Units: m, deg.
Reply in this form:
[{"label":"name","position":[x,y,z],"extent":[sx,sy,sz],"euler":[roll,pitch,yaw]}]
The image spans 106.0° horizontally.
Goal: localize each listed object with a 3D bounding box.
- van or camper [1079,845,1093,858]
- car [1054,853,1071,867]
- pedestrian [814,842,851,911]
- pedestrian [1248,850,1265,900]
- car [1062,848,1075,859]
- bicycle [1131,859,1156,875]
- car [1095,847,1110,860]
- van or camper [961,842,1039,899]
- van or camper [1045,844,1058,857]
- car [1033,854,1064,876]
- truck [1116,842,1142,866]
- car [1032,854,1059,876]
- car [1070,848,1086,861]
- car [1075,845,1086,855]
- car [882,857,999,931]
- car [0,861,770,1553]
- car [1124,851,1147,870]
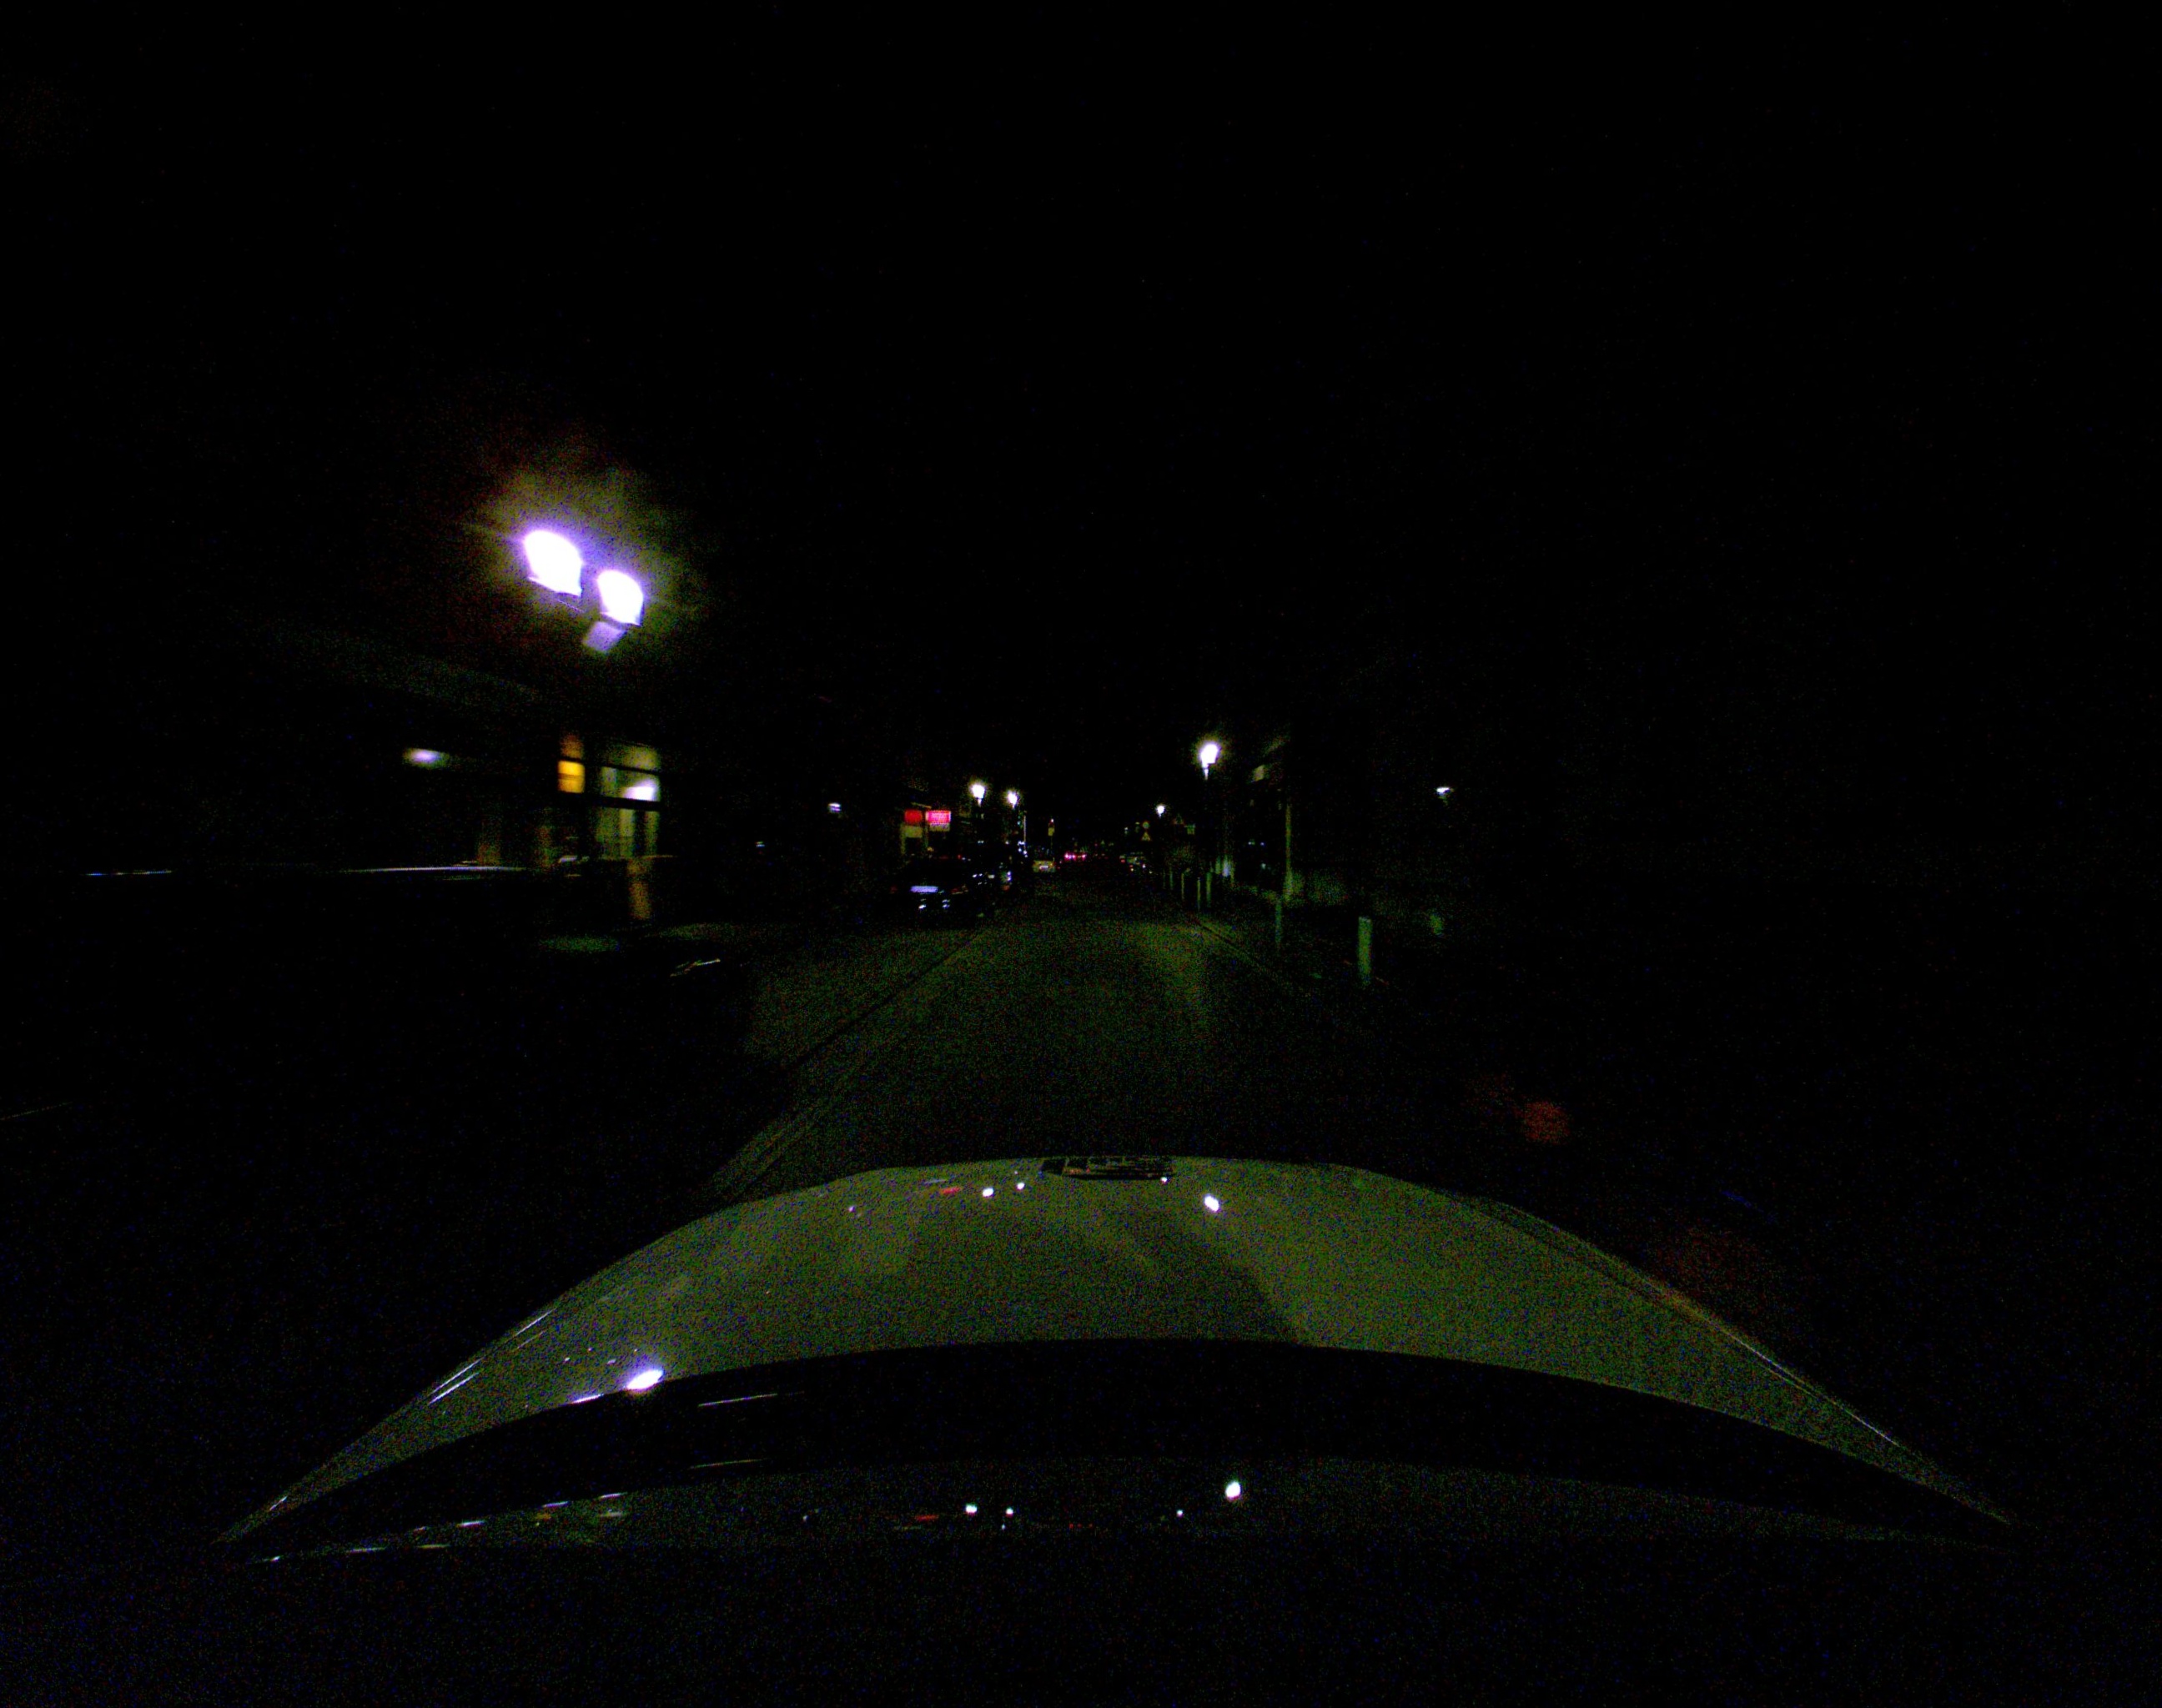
[{"label":"van or camper","position":[0.846,-0.448,147.098],"extent":[2.106,2.317,4.253],"euler":[-2,0,-6]},{"label":"car","position":[-2.069,0.665,90.064],"extent":[1.671,1.543,4.223],"euler":[0,0,-5]},{"label":"pedestrian","position":[-6.459,0.569,21.215],"extent":[0.619,1.745,1.023],"euler":[0,0,1]},{"label":"pedestrian","position":[5.423,0.638,25.162],"extent":[0.498,1.547,0.481],"euler":[0,0,7]},{"label":"car","position":[-2.111,-0.090,134.307],"extent":[1.990,1.702,3.994],"euler":[-1,0,-4]},{"label":"bicycle","position":[4.483,0.929,58.617],"extent":[1.750,1.062,0.346],"euler":[-1,0,-2]},{"label":"car","position":[3.149,-0.108,120.753],"extent":[1.812,1.828,4.339],"euler":[-1,0,-5]},{"label":"van or camper","position":[-2.883,0.539,30.305],"extent":[1.836,1.942,5.163],"euler":[0,0,6]},{"label":"van or camper","position":[-4.635,-0.505,127.764],"extent":[1.864,2.011,4.253],"euler":[1,0,-6]},{"label":"car","position":[-2.424,0.828,61.933],"extent":[2.013,1.488,5.007],"euler":[2,0,0]},{"label":"truck","position":[5.029,-0.012,85.632],"extent":[2.328,2.312,5.780],"euler":[-1,0,0]},{"label":"car","position":[-2.415,0.738,56.486],"extent":[1.723,1.476,3.846],"euler":[0,0,0]},{"label":"car","position":[-0.473,0.122,119.838],"extent":[1.990,1.823,3.994],"euler":[-1,0,-4]},{"label":"car","position":[-0.156,-0.865,166.232],"extent":[1.836,1.901,3.839],"euler":[-1,0,-4]},{"label":"car","position":[-2.977,0.789,18.169],"extent":[1.710,1.413,4.387],"euler":[1,0,2]},{"label":"car","position":[-3.252,0.794,3.943],"extent":[1.791,1.478,4.321],"euler":[0,0,0]},{"label":"car","position":[4.693,0.555,70.051],"extent":[1.783,1.491,4.061],"euler":[-2,0,2]}]
